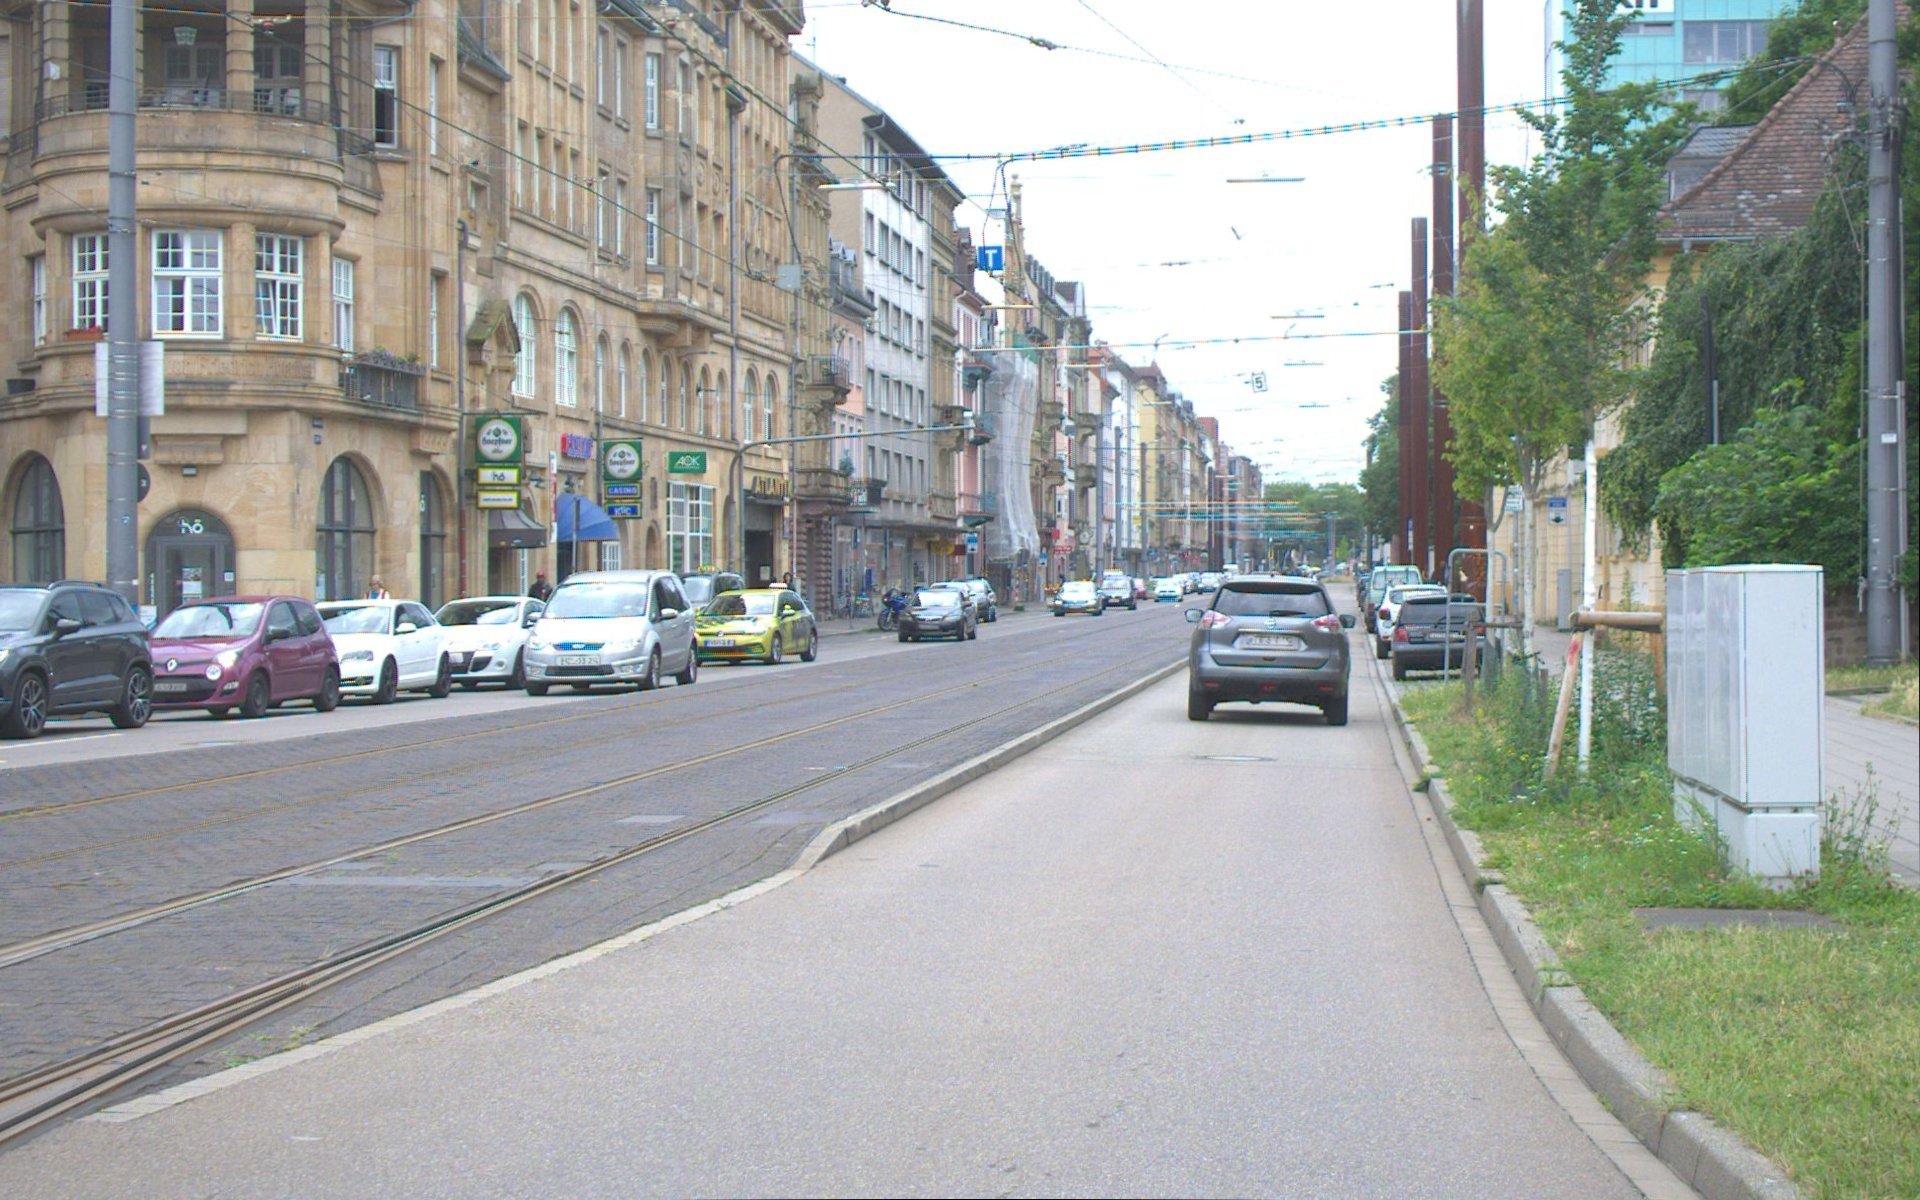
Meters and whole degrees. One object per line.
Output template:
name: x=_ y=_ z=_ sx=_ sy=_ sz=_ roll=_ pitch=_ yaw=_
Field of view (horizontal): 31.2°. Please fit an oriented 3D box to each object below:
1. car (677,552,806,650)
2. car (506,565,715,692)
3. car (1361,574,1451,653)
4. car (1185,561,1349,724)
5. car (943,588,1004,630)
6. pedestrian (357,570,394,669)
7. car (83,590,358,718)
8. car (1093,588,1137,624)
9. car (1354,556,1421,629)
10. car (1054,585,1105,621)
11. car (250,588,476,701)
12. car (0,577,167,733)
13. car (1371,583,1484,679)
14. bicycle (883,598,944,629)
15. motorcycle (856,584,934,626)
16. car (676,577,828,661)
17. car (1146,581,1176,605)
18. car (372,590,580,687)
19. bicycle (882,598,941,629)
car: x=-4.680 y=-0.004 z=74.313 sx=1.899 sy=1.970 sz=5.096 roll=-2 pitch=0 yaw=6
car: x=-4.934 y=0.370 z=49.261 sx=1.863 sy=1.700 sz=4.908 roll=-1 pitch=0 yaw=8
car: x=9.496 y=0.262 z=73.401 sx=1.755 sy=1.569 sz=3.930 roll=-2 pitch=0 yaw=6
car: x=3.638 y=0.457 z=40.237 sx=1.750 sy=1.750 sz=3.923 roll=2 pitch=1 yaw=7
car: x=0.516 y=0.329 z=126.746 sx=1.776 sy=1.499 sz=4.401 roll=0 pitch=0 yaw=6
pedestrian: x=-10.209 y=0.338 z=60.059 sx=0.630 sy=1.713 sz=0.533 roll=0 pitch=0 yaw=-8
car: x=-8.803 y=0.615 z=41.265 sx=1.864 sy=1.394 sz=3.893 roll=-2 pitch=0 yaw=10
car: x=7.367 y=0.257 z=162.941 sx=1.759 sy=1.666 sz=4.613 roll=0 pitch=0 yaw=7
car: x=13.039 y=-0.234 z=105.067 sx=1.851 sy=2.108 sz=4.983 roll=-3 pitch=0 yaw=6
car: x=4.999 y=0.119 z=143.055 sx=1.759 sy=1.444 sz=4.613 roll=0 pitch=0 yaw=7
car: x=-8.057 y=0.568 z=46.792 sx=1.747 sy=1.375 sz=4.361 roll=-3 pitch=0 yaw=7
car: x=-10.019 y=0.559 z=35.639 sx=1.864 sy=1.529 sz=4.300 roll=-2 pitch=0 yaw=11
car: x=7.620 y=0.483 z=56.288 sx=1.638 sy=1.429 sz=3.930 roll=-2 pitch=0 yaw=6
bicycle: x=-1.509 y=0.424 z=111.597 sx=1.966 sy=0.998 sz=0.463 roll=0 pitch=0 yaw=-1
motorcycle: x=-2.054 y=0.144 z=108.509 sx=2.336 sy=1.298 sz=0.883 roll=0 pitch=0 yaw=-30
car: x=-3.954 y=0.341 z=66.057 sx=1.900 sy=1.506 sz=4.426 roll=-1 pitch=0 yaw=10
car: x=12.285 y=-0.425 z=209.994 sx=1.687 sy=1.415 sz=4.134 roll=0 pitch=0 yaw=6
car: x=-7.236 y=0.551 z=51.801 sx=1.927 sy=1.375 sz=4.256 roll=0 pitch=0 yaw=9
bicycle: x=-1.563 y=0.440 z=110.840 sx=1.921 sy=0.998 sz=0.463 roll=0 pitch=0 yaw=-1
